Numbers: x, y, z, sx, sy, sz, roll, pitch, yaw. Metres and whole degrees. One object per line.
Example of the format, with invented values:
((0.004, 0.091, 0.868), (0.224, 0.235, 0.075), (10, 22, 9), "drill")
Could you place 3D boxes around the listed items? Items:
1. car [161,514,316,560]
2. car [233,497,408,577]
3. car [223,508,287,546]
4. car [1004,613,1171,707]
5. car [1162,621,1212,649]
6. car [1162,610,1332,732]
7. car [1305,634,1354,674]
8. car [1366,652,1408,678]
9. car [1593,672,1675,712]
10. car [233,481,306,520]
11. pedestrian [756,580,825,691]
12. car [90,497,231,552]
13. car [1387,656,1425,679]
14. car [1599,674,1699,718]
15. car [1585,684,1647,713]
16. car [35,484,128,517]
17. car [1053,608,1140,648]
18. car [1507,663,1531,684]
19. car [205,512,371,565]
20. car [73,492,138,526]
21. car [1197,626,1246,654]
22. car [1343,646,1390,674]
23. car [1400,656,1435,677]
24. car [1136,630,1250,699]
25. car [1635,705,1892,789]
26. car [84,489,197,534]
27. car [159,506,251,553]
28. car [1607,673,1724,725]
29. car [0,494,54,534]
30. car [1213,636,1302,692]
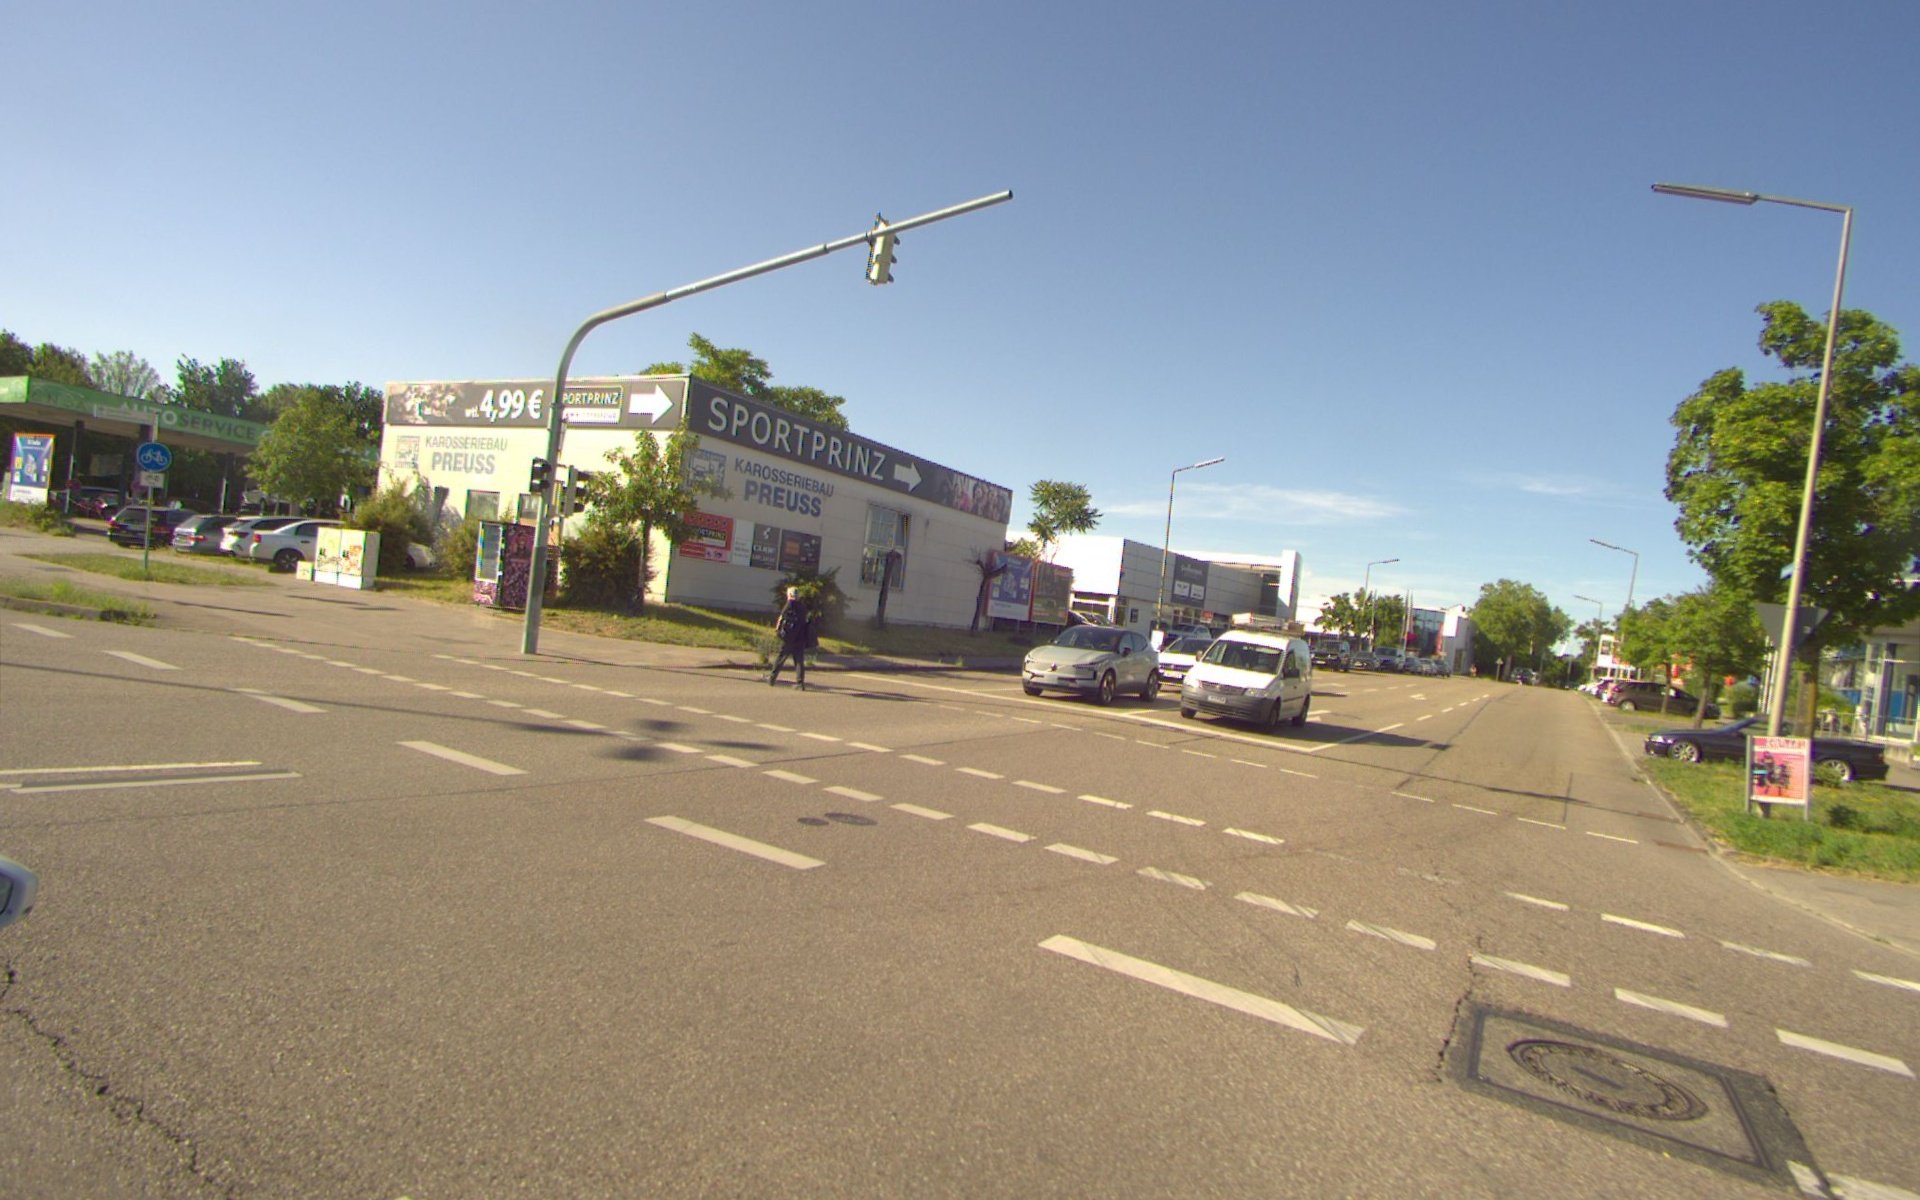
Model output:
((-23.018, -2.016, 32.221), (1.811, 1.310, 3.599), (6, 6, 33), "car")
((-17.931, -1.782, 28.440), (3.944, 2.044, 1.673), (0, 7, -26), "car")
((-33.818, -3.465, 48.343), (1.672, 1.437, 3.682), (8, -1, -24), "car")
((2.816, 1.286, 21.435), (1.871, 1.665, 4.094), (5, -1, 32), "car")
((14.301, 2.225, 63.287), (1.779, 1.401, 3.923), (6, -1, 32), "car")
((5.779, 1.426, 19.845), (1.841, 1.957, 4.687), (6, -1, 32), "car")
((22.671, 3.334, 61.578), (1.711, 1.991, 3.992), (6, -2, 35), "car")
((33.087, 5.036, 77.926), (1.970, 1.618, 3.986), (6, 0, 37), "car")
((45.063, 6.151, 67.336), (4.289, 2.044, 1.719), (6, 0, 31), "car")
((-38.317, -5.538, 55.820), (3.716, 1.777, 1.920), (6, 0, 33), "car")
((-2.797, 0.595, 16.649), (0.607, 1.737, 0.758), (6, 0, 31), "pedestrian")
((-26.887, -2.491, 34.042), (1.870, 1.551, 4.818), (5, 2, -15), "car")
((37.811, 5.716, 85.192), (1.970, 1.618, 3.986), (6, 0, 37), "car")
((38.267, 5.306, 55.989), (4.289, 1.859, 1.719), (6, 0, 31), "car")
((54.807, 8.235, 84.167), (4.081, 1.874, 1.719), (6, -1, 31), "car")
((-54.951, -6.211, 63.012), (1.706, 1.551, 4.038), (6, 1, 33), "car")
((7.016, 1.435, 51.714), (3.935, 1.503, 1.779), (6, -2, 33), "car")
((65.254, 8.614, 117.400), (1.679, 2.036, 3.987), (6, -3, 39), "car")
((-20.411, -1.844, 30.658), (1.701, 1.474, 3.901), (7, 6, 42), "car")
((-51.656, -5.506, 60.797), (4.067, 1.625, 1.717), (6, -2, 32), "car")
((17.503, 2.676, 67.183), (1.754, 1.379, 3.990), (6, -3, 36), "car")
((29.071, 4.318, 71.889), (1.970, 1.663, 3.985), (6, 0, 37), "car")
((41.259, 5.995, 90.642), (1.970, 1.618, 3.985), (6, 0, 37), "car")
((6.489, 1.774, 27.686), (1.779, 1.609, 3.922), (5, -1, 32), "car")
((18.193, 3.295, 23.058), (4.288, 1.137, 1.720), (6, -1, 30), "car")
((-41.858, -4.492, 51.465), (3.929, 1.503, 2.000), (8, -2, -5), "car")
((-34.953, -3.282, 46.564), (3.934, 1.666, 1.998), (6, -2, 31), "car")
((33.620, 4.681, 48.079), (4.289, 1.858, 1.719), (6, -1, 31), "car")
((-45.209, -4.167, 48.046), (4.179, 1.592, 1.746), (6, 0, 33), "car")
((10.047, 2.162, 33.819), (1.779, 1.609, 3.922), (5, -1, 32), "car")
